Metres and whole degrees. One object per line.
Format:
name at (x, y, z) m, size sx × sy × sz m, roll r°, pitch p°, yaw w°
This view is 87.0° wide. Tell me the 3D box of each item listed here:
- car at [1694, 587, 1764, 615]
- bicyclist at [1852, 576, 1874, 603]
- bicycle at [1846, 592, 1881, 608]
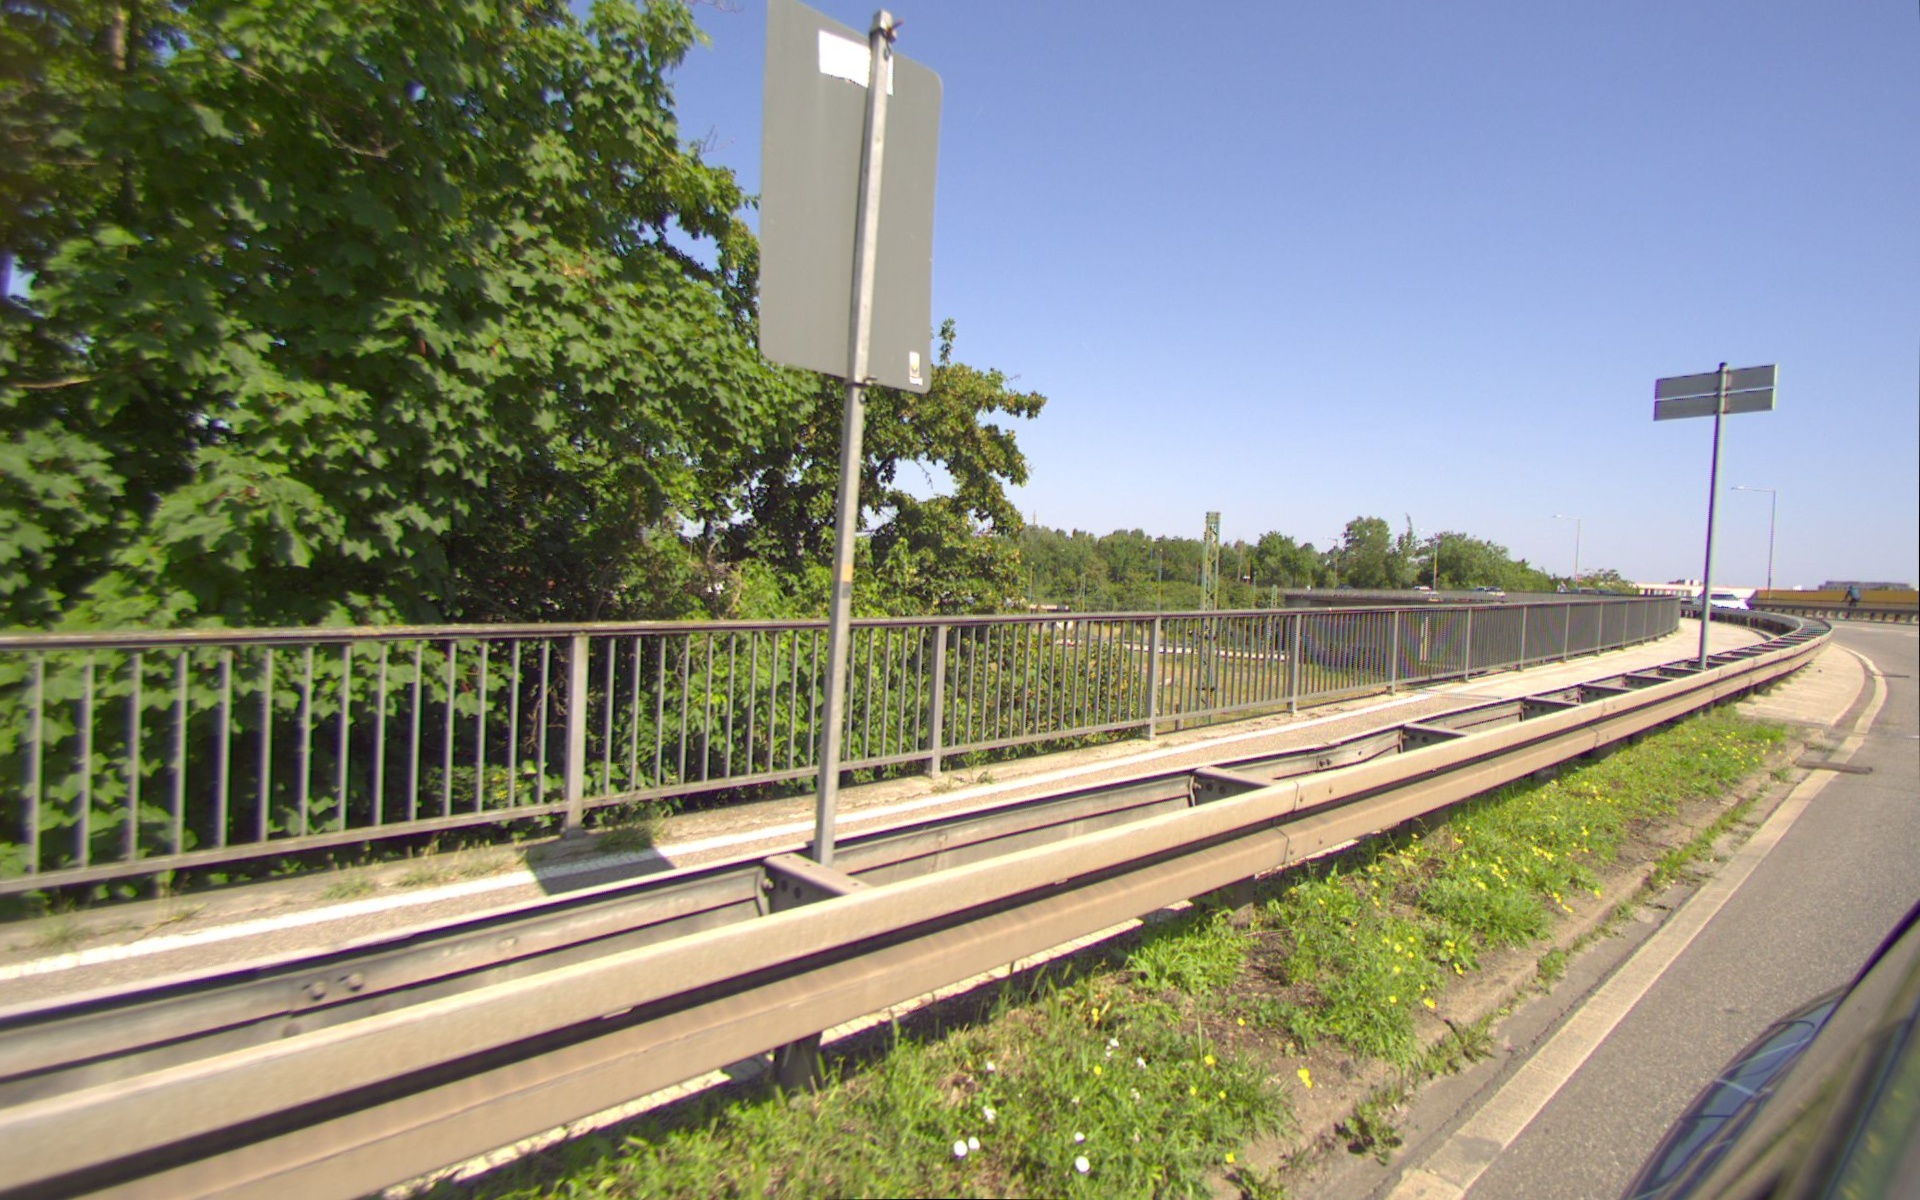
car at (42.882, 0.043, 56.547) m, size 1.823 × 1.507 × 4.128 m, roll 1°, pitch 1°, yaw 18°
bicyclist at (51.745, -0.609, 58.014) m, size 0.655 × 1.515 × 1.008 m, roll 1°, pitch 0°, yaw 24°
bicycle at (51.740, -0.017, 57.957) m, size 0.921 × 0.902 × 1.951 m, roll 1°, pitch 0°, yaw 24°
